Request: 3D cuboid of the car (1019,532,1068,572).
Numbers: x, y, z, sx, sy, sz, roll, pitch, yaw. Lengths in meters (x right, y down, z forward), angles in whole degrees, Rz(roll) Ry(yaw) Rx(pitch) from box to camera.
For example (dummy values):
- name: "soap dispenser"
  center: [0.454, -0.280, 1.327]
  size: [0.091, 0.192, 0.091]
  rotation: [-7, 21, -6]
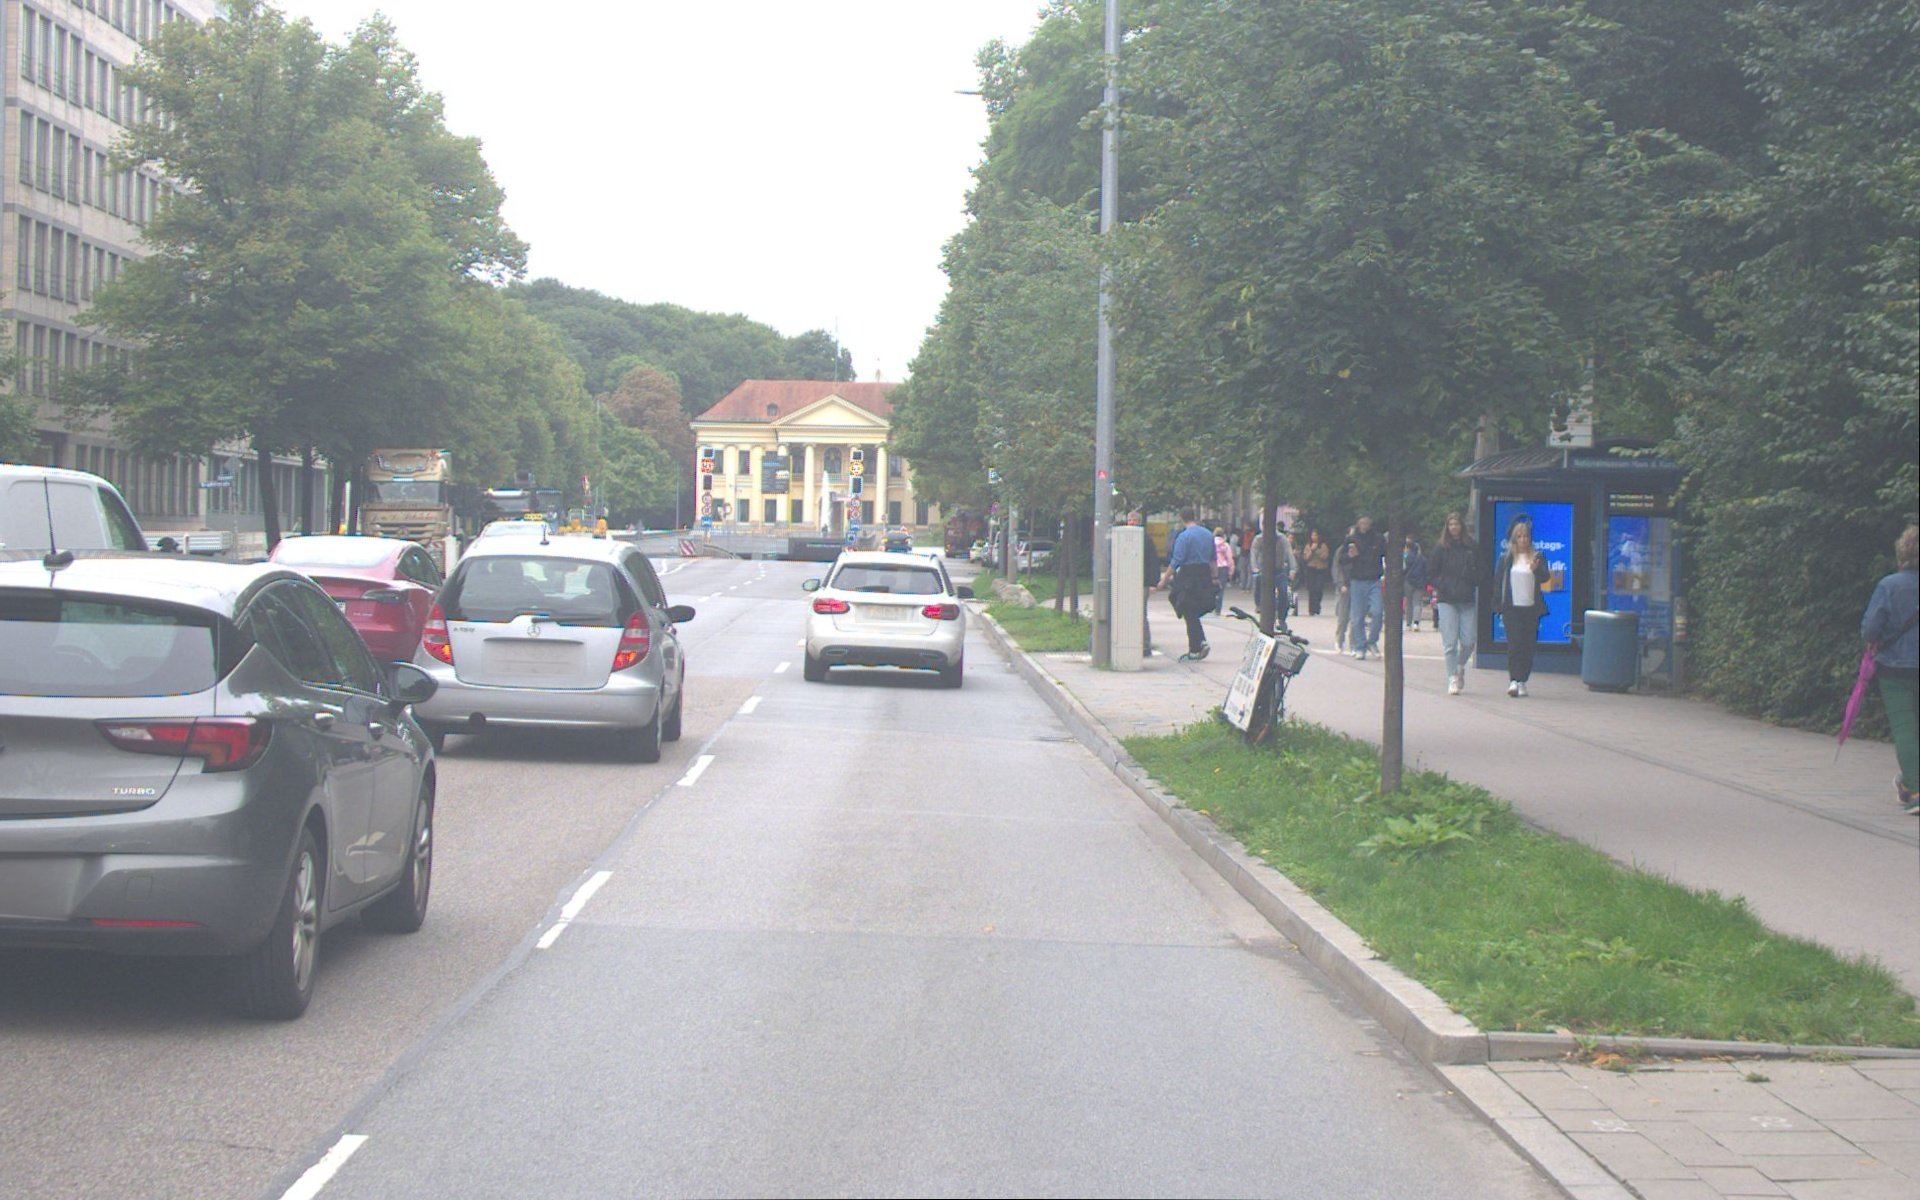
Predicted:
- name: "car"
  center: [3.321, -1.941, 138.018]
  size: [1.827, 1.544, 4.752]
  rotation: [0, 2, 0]

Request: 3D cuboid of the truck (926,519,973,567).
- name: "truck"
  center: [-0.851, -4.366, 260.406]
  size: [3.325, 3.355, 8.663]
  rotation: [2, 2, -1]

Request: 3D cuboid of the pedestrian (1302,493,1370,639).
- name: "pedestrian"
  center: [4.739, -0.439, 43.346]
  size: [0.708, 1.802, 0.639]
  rotation: [2, 2, -1]

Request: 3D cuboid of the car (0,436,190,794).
- name: "car"
  center: [-5.939, 0.003, 20.026]
  size: [1.898, 1.841, 4.956]
  rotation: [1, 1, -1]

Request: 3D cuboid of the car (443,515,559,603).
- name: "car"
  center: [-9.763, -0.897, 73.427]
  size: [1.857, 1.742, 4.630]
  rotation: [-1, 2, -1]

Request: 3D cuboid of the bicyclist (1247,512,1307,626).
- name: "bicyclist"
  center: [4.430, -0.442, 48.128]
  size: [0.708, 1.556, 0.639]
  rotation: [2, 2, -1]

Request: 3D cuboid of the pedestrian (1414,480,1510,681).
- name: "pedestrian"
  center: [4.874, -0.199, 33.440]
  size: [0.708, 1.908, 0.956]
  rotation: [2, 2, -1]

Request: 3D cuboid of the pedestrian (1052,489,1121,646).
- name: "pedestrian"
  center: [1.477, -0.389, 40.349]
  size: [0.708, 1.802, 0.639]
  rotation: [2, 2, -1]

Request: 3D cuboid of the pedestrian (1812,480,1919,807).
- name: "pedestrian"
  center: [5.349, 0.242, 19.754]
  size: [0.671, 1.832, 0.641]
  rotation: [2, 2, 0]

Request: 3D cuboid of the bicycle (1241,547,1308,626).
- name: "bicycle"
  center: [4.396, -0.206, 48.132]
  size: [0.675, 1.027, 2.013]
  rotation: [2, 2, -1]

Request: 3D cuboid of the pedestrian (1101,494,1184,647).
- name: "pedestrian"
  center: [2.296, -0.373, 43.213]
  size: [0.805, 1.874, 0.543]
  rotation: [3, 2, 35]

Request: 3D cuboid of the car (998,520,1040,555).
- name: "car"
  center: [2.572, -2.743, 150.072]
  size: [1.724, 1.459, 4.776]
  rotation: [0, 2, 0]

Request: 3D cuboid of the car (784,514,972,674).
- name: "car"
  center: [-0.990, -0.114, 39.340]
  size: [1.779, 1.639, 4.001]
  rotation: [2, 2, -6]

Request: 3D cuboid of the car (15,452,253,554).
- name: "car"
  center: [-21.189, -2.489, 88.372]
  size: [5.679, 2.527, 2.157]
  rotation: [0, 2, -5]

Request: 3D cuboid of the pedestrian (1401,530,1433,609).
- name: "pedestrian"
  center: [7.847, -0.528, 59.038]
  size: [0.458, 1.322, 0.648]
  rotation: [2, 2, 4]

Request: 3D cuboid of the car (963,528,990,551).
- name: "car"
  center: [1.068, -3.943, 223.010]
  size: [1.724, 1.319, 4.028]
  rotation: [1, 3, 0]

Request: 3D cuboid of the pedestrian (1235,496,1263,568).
- name: "pedestrian"
  center: [7.431, -1.747, 88.429]
  size: [0.588, 1.816, 0.850]
  rotation: [2, 2, 0]

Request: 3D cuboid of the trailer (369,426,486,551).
- name: "trailer"
  center: [-17.140, -3.624, 111.317]
  size: [2.949, 3.727, 11.774]
  rotation: [2, 2, -6]

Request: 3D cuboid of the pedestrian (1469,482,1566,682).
- name: "pedestrian"
  center: [5.481, -0.188, 33.821]
  size: [0.708, 1.908, 0.956]
  rotation: [2, 2, -1]

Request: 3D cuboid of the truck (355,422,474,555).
- name: "truck"
  center: [-16.455, -3.386, 104.106]
  size: [2.915, 3.761, 7.668]
  rotation: [2, 2, -5]

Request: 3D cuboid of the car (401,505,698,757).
- name: "car"
  center: [-2.966, 0.159, 25.590]
  size: [1.779, 1.648, 4.001]
  rotation: [2, 2, -2]

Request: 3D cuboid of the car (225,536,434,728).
- name: "car"
  center: [-6.121, 0.266, 33.719]
  size: [1.779, 1.648, 4.001]
  rotation: [2, 2, -8]

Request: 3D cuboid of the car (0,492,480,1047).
- name: "car"
  center: [-2.826, 0.429, 11.931]
  size: [1.710, 1.546, 4.000]
  rotation: [2, 2, 0]

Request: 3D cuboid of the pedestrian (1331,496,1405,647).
- name: "pedestrian"
  center: [4.995, -0.358, 42.097]
  size: [0.708, 1.802, 0.950]
  rotation: [2, 2, -1]

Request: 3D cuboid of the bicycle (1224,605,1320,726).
- name: "bicycle"
  center: [2.324, 0.473, 25.759]
  size: [0.493, 0.791, 1.890]
  rotation: [2, 2, -1]

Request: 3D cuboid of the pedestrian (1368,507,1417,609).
- name: "pedestrian"
  center: [7.246, -0.709, 57.606]
  size: [0.726, 1.685, 0.648]
  rotation: [2, 2, 4]
